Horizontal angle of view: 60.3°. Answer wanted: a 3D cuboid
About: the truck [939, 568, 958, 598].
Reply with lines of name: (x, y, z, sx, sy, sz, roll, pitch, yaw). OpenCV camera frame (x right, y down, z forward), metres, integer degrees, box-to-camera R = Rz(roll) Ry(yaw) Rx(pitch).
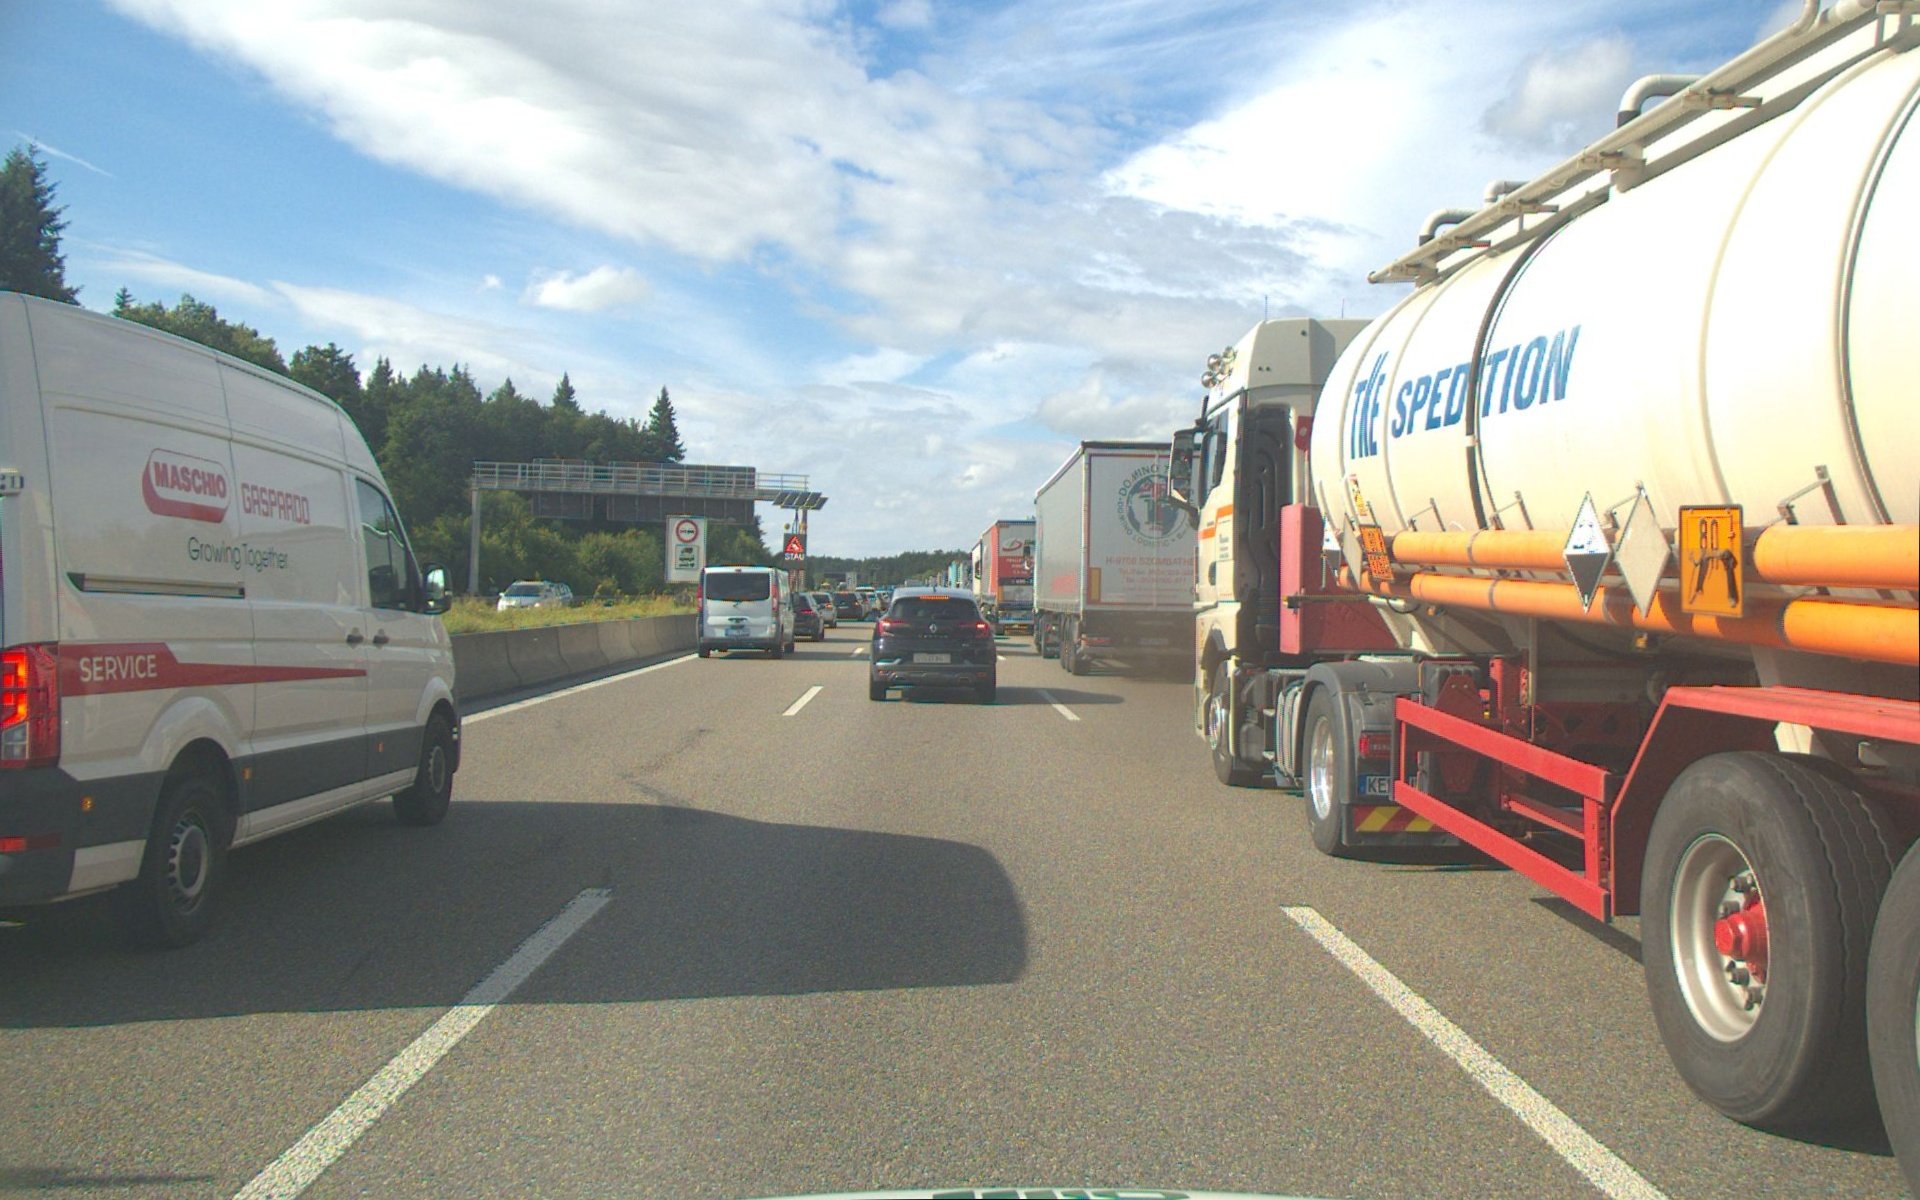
truck: (-1.264, -1.809, 180.744, 1.953, 3.105, 4.980, 4, 0, -1)

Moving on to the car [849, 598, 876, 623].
car: (-5.780, 0.609, 98.474, 1.406, 1.333, 3.532, 4, 0, -2)

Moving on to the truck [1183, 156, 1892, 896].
truck: (3.333, -0.362, 11.582, 2.482, 3.646, 6.727, 1, 0, -1)

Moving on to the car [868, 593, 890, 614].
car: (-5.578, 0.251, 114.181, 1.333, 1.323, 3.084, 4, 0, -1)

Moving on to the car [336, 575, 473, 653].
car: (-12.320, 0.276, 36.933, 1.791, 1.633, 3.808, 1, 0, -1)

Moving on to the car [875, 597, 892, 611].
car: (-6.521, 0.371, 140.904, 1.333, 1.179, 3.084, 1, 0, -1)

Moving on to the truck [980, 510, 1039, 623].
truck: (1.967, -1.310, 67.515, 2.090, 4.356, 6.337, 1, 0, -1)

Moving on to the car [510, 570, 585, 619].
car: (-16.038, -0.203, 64.419, 1.850, 1.713, 3.999, 4, 0, -1)

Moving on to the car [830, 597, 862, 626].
car: (-5.741, 0.576, 83.715, 1.406, 1.333, 3.532, 4, 0, -2)

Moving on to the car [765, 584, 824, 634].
car: (-4.980, 0.265, 50.040, 1.469, 1.420, 3.475, 1, 0, -1)

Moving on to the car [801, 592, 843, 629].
car: (-5.752, 0.422, 69.213, 1.470, 1.420, 3.475, 4, 0, -1)

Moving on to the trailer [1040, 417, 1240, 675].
trailer: (3.292, -0.892, 33.312, 2.745, 4.318, 11.055, 0, 0, 0)

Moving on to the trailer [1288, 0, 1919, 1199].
trailer: (3.453, -0.416, 5.367, 2.489, 3.717, 10.624, 1, 0, -1)

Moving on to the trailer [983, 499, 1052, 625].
trailer: (2.042, -1.310, 61.325, 2.106, 4.333, 8.439, 1, 0, -1)

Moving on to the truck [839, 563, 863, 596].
truck: (-12.617, -2.357, 191.814, 2.297, 3.656, 6.304, 4, 0, -1)

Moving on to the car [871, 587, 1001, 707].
car: (-0.270, 0.605, 24.195, 1.661, 1.508, 4.161, 1, 1, 2)

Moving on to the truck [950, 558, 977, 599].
truck: (0.234, -1.728, 134.378, 1.953, 3.105, 4.980, 4, 0, -1)

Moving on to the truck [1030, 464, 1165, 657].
truck: (3.239, -0.878, 40.483, 2.729, 4.321, 6.459, 0, 0, 0)

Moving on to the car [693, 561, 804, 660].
car: (-4.786, 0.228, 38.096, 1.894, 2.013, 5.097, 4, 0, -1)

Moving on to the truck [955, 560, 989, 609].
truck: (0.775, -1.004, 108.644, 1.953, 2.982, 4.980, 4, 0, -1)

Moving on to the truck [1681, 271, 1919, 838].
truck: (7.391, -0.289, 10.638, 2.478, 3.636, 6.774, 0, 0, -1)

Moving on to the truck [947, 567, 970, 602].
truck: (-0.183, -1.418, 156.204, 1.953, 3.105, 4.980, 4, 0, -1)

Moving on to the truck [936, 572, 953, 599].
truck: (-1.920, -1.791, 206.581, 1.953, 3.105, 4.980, 4, 0, -1)

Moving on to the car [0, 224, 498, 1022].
car: (-4.121, 0.033, 8.520, 1.975, 2.644, 6.179, 0, 1, -2)
